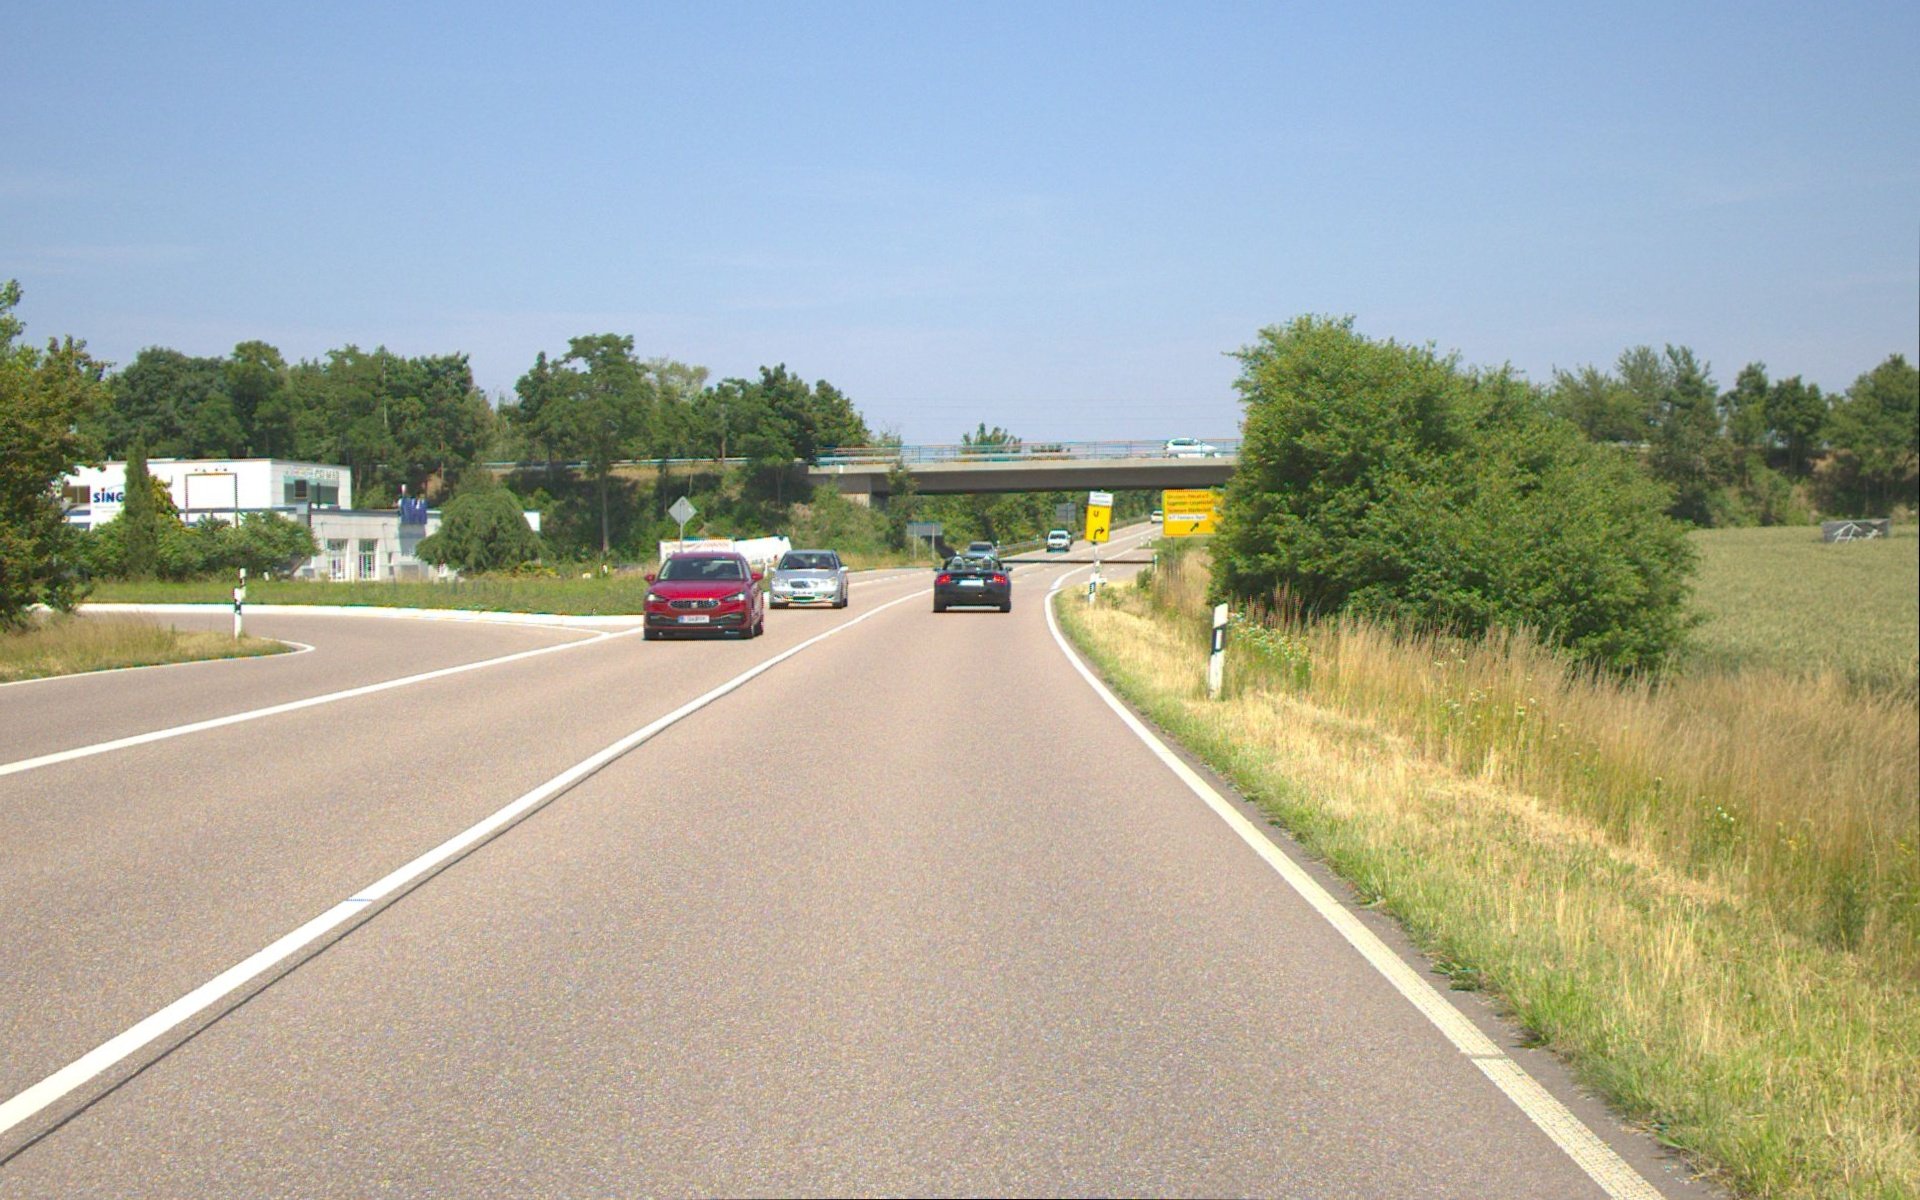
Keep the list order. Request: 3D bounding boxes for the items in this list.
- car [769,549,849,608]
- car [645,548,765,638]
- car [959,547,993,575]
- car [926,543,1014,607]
[{"bbox_3d":[-3.638,-0.540,83.529,1.731,1.386,4.491,1,1,0],"label":"car"},{"bbox_3d":[-4.219,-0.142,57.326,1.742,1.407,4.625,1,1,-1],"label":"car"},{"bbox_3d":[0.908,-2.257,199.206,1.831,1.562,3.334,1,0,-1],"label":"car"},{"bbox_3d":[0.201,-0.581,78.961,1.814,1.436,4.001,0,1,-3],"label":"car"}]
